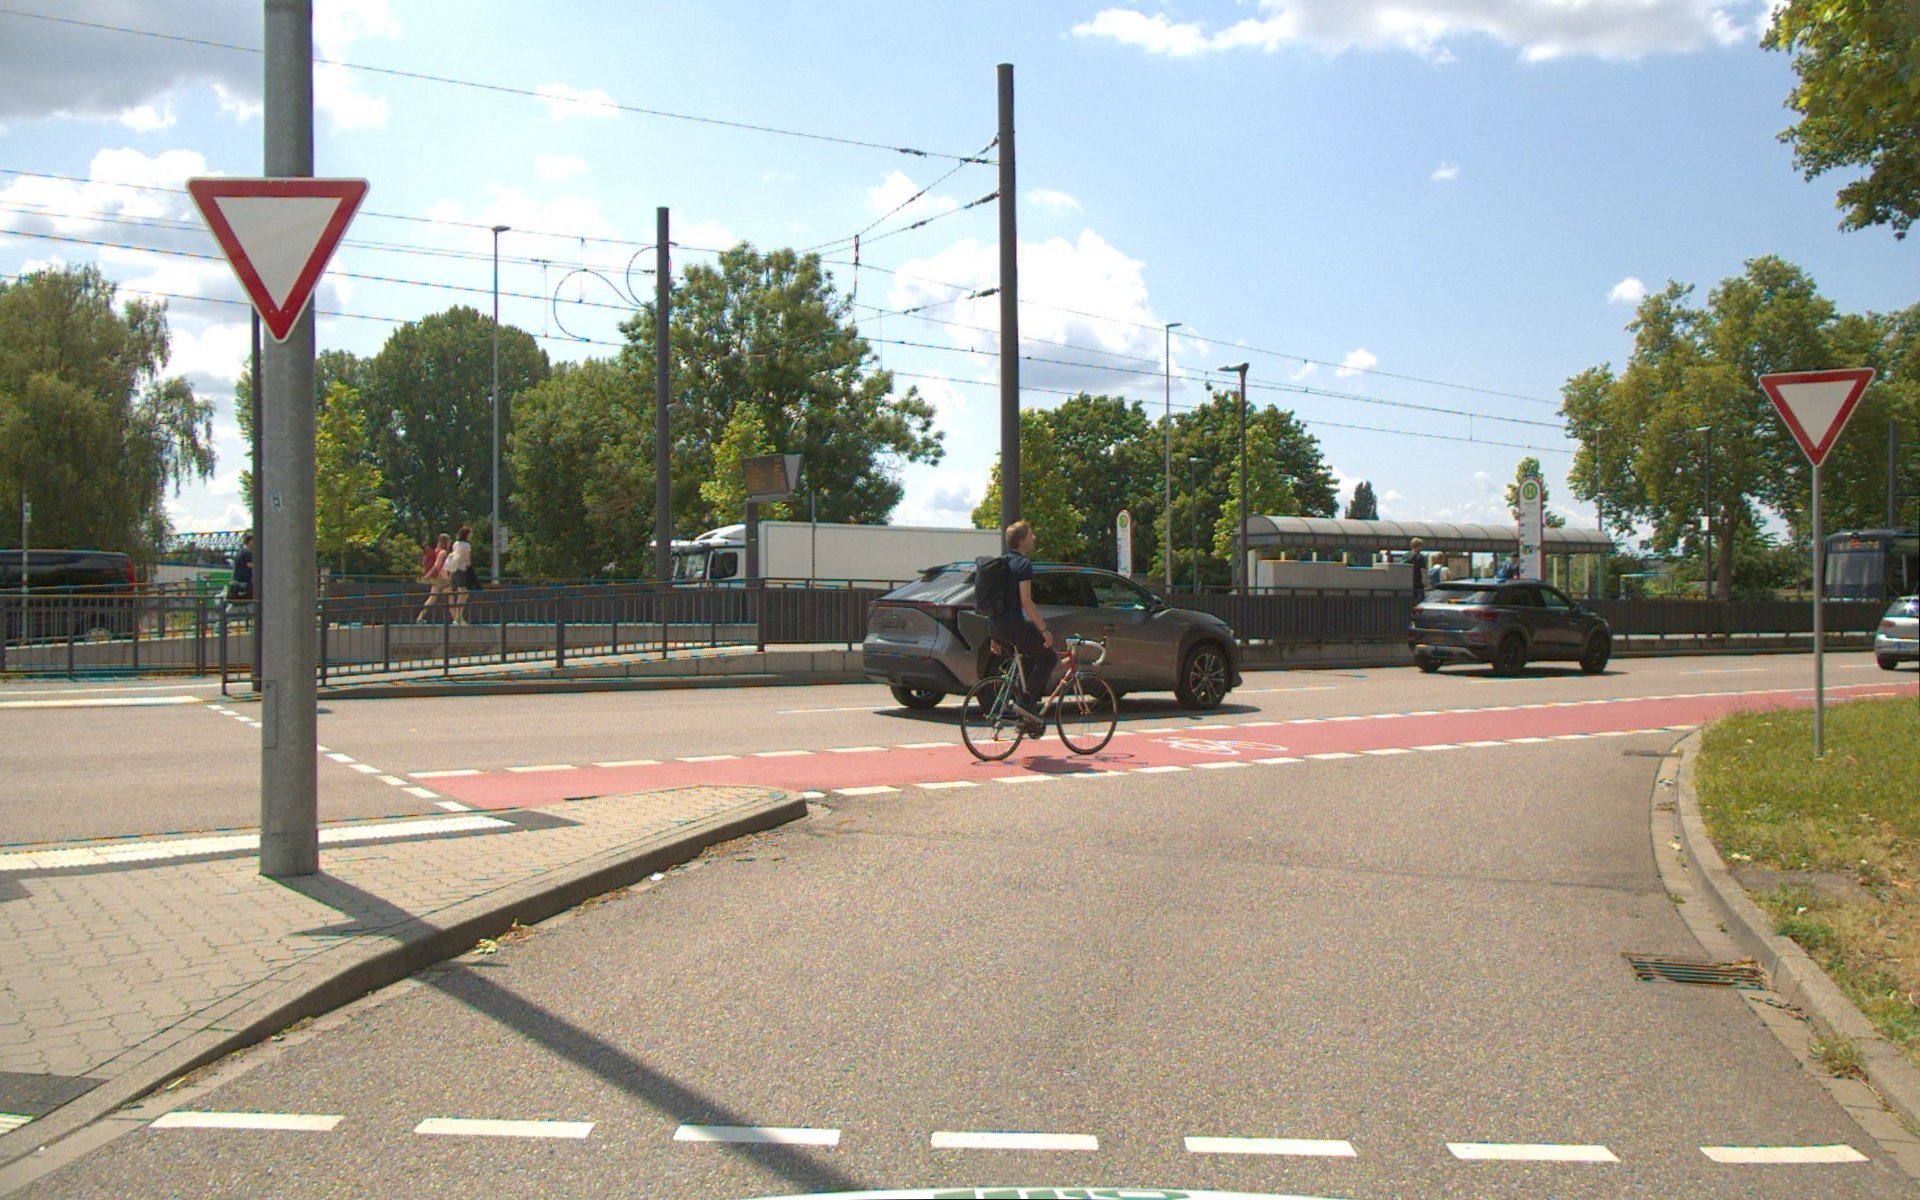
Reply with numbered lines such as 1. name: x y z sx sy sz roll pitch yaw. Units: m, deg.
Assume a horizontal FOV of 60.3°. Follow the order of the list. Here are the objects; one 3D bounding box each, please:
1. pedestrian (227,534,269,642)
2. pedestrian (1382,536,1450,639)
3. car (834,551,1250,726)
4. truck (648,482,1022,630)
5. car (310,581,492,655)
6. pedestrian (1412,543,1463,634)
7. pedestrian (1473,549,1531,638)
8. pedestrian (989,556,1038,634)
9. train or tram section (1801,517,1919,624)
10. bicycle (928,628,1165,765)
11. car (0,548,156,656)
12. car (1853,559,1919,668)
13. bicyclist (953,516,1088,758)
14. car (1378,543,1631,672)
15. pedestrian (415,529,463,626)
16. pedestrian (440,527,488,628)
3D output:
1. pedestrian: -11.809 -0.206 27.438 0.518 1.751 0.722 -1 1 -32
2. pedestrian: 8.914 -0.247 32.315 0.984 1.973 0.864 -1 1 -37
3. car: 0.986 0.358 18.262 4.472 1.704 1.879 0 1 -37
4. truck: -3.612 -1.294 51.342 11.861 4.176 2.915 0 1 -36
5. car: -14.439 0.422 42.837 4.117 1.805 1.860 -1 1 -37
6. pedestrian: 10.158 -0.253 35.223 0.856 1.904 0.676 -1 1 -5
7. pedestrian: 11.100 -0.140 33.851 0.920 1.786 0.727 0 1 -37
8. pedestrian: 1.283 -0.118 39.353 0.920 1.839 0.727 0 1 -37
9. train or tram section: 32.955 -0.892 55.654 13.963 3.242 3.004 0 0 -40
10. bicycle: 0.730 0.755 13.550 2.001 1.016 0.614 0 1 -37
11. car: -16.816 0.024 29.018 4.616 1.852 1.974 -1 1 -37
12. car: 19.533 0.220 32.415 4.316 2.024 1.974 -1 1 -37
13. bicyclist: 0.490 0.283 13.358 0.914 1.878 0.603 0 1 -36
14. car: 9.259 0.128 28.010 4.315 2.024 1.974 1 0 -37
15. pedestrian: -9.504 -0.418 30.167 0.699 1.751 0.594 -1 1 -34
16. pedestrian: -8.928 -0.413 29.743 0.670 1.778 0.630 0 2 -33
